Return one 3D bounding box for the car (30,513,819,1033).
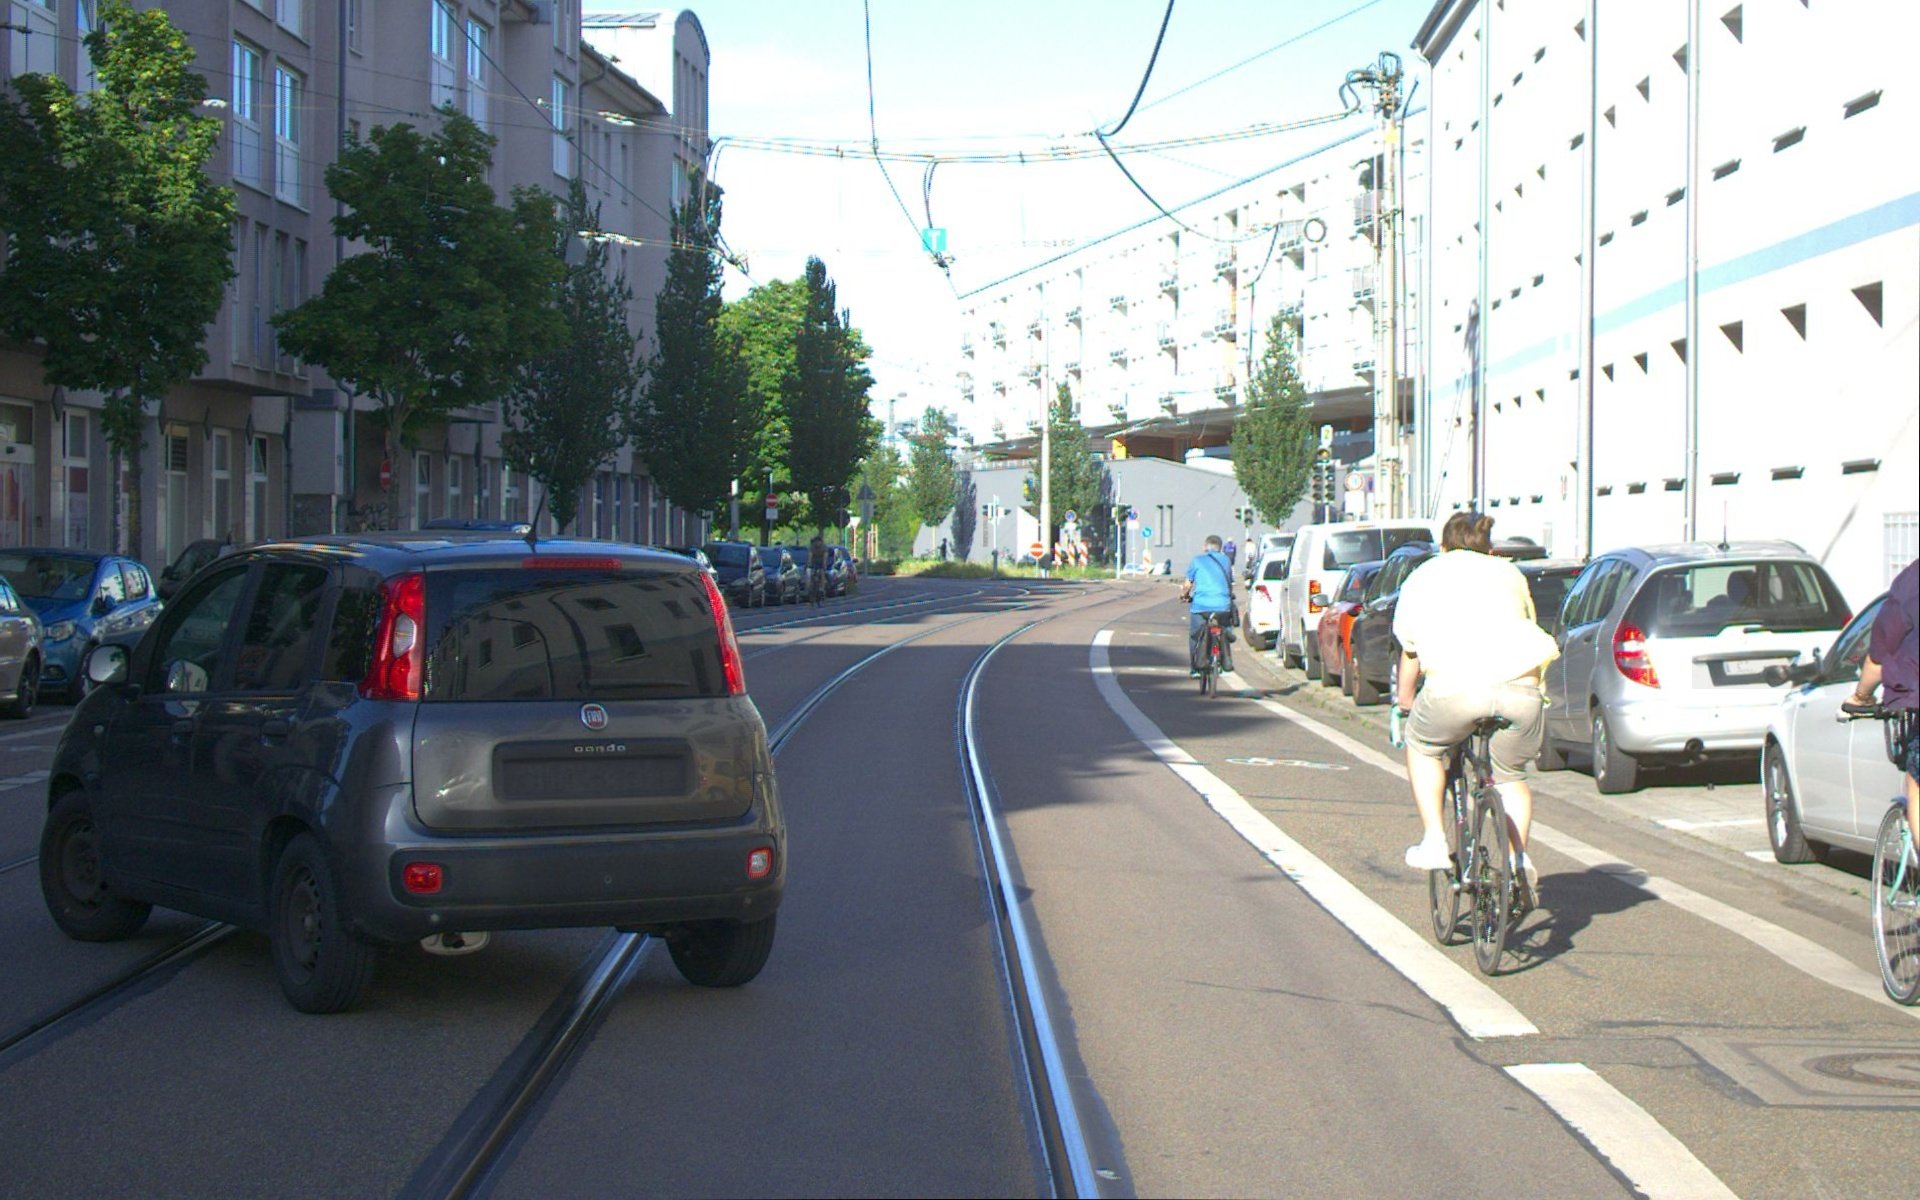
[{"bbox_3d":[-1.998,0.502,12.004,1.556,1.528,3.486,0,0,-30],"label":"car"}]

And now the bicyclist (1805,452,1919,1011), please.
[{"bbox_3d":[3.252,0.387,10.766,0.934,1.670,0.970,0,1,-1],"label":"bicyclist"}]

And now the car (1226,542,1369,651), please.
[{"bbox_3d":[5.327,-0.094,54.780,1.844,1.640,4.549,0,1,0],"label":"car"}]

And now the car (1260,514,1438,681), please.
[{"bbox_3d":[4.840,-0.070,43.267,1.786,1.964,4.154,-1,1,1],"label":"car"}]

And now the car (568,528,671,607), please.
[{"bbox_3d":[-7.120,-0.701,72.173,1.665,1.612,4.000,1,1,1],"label":"car"}]

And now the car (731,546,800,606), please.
[{"bbox_3d":[-5.122,-0.640,90.773,1.591,1.535,3.191,0,1,0],"label":"car"}]

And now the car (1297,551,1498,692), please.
[{"bbox_3d":[4.857,0.202,38.594,1.795,1.478,3.779,0,1,0],"label":"car"}]

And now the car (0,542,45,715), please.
[{"bbox_3d":[-8.963,0.229,28.379,1.744,1.438,4.000,3,1,-1],"label":"car"}]

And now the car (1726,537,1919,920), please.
[{"bbox_3d":[4.812,0.509,15.425,1.679,1.565,4.510,-1,1,0],"label":"car"}]

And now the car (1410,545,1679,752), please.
[{"bbox_3d":[4.783,0.345,28.590,1.591,1.532,4.007,-2,1,1],"label":"car"}]

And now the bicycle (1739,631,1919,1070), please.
[{"bbox_3d":[3.240,0.765,11.039,0.821,1.232,2.462,2,1,-1],"label":"bicycle"}]

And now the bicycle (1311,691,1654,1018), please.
[{"bbox_3d":[1.889,0.887,12.885,0.738,0.921,2.837,3,1,-1],"label":"bicycle"}]

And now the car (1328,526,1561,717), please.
[{"bbox_3d":[4.644,0.157,33.421,1.660,1.664,3.904,-3,1,0],"label":"car"}]

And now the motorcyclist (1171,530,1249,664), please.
[{"bbox_3d":[2.656,-0.042,36.593,0.727,1.401,1.021,0,1,-1],"label":"motorcyclist"}]

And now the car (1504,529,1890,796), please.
[{"bbox_3d":[4.866,0.347,23.215,1.754,1.565,3.904,-3,1,1],"label":"car"}]

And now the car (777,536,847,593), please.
[{"bbox_3d":[-4.345,-1.061,101.388,1.844,1.640,3.697,0,1,0],"label":"car"}]

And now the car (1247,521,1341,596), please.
[{"bbox_3d":[8.024,-1.024,82.973,1.844,1.750,4.549,0,1,0],"label":"car"}]

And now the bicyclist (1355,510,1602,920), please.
[{"bbox_3d":[1.905,0.402,12.762,0.727,1.457,1.021,0,1,-1],"label":"bicyclist"}]

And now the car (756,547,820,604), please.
[{"bbox_3d":[-4.729,-0.683,94.835,1.591,1.535,3.191,0,1,0],"label":"car"}]
